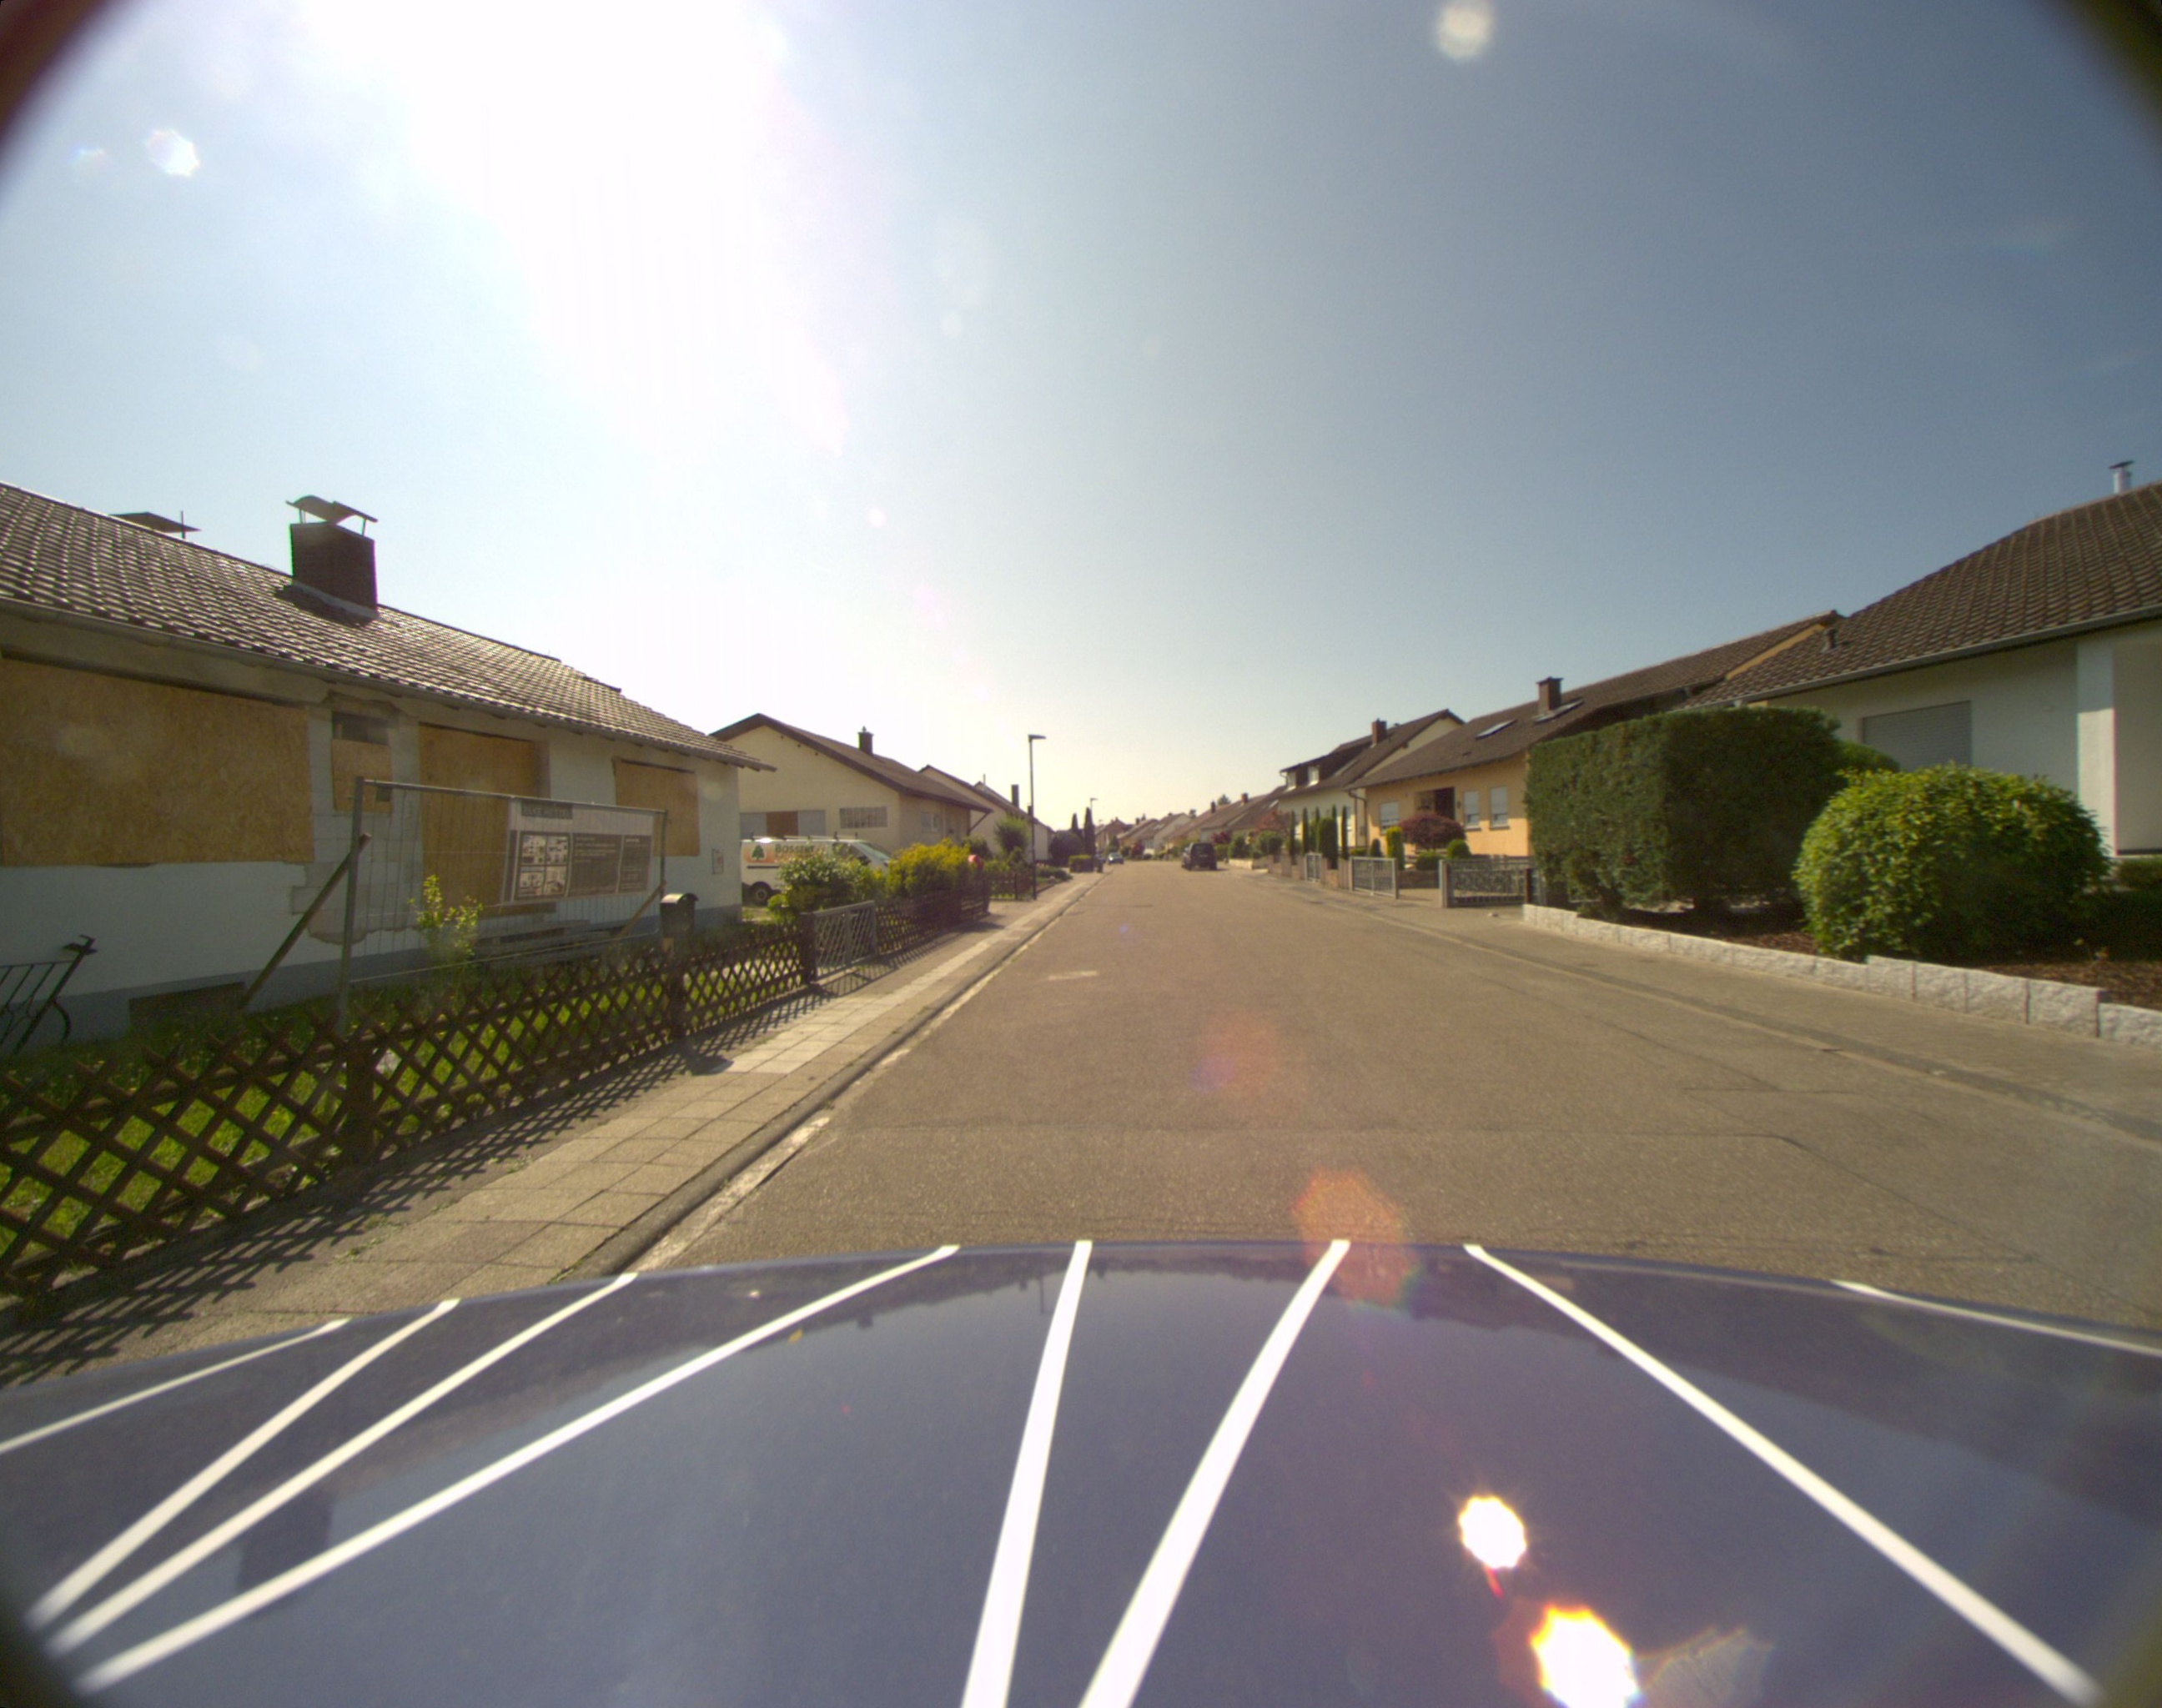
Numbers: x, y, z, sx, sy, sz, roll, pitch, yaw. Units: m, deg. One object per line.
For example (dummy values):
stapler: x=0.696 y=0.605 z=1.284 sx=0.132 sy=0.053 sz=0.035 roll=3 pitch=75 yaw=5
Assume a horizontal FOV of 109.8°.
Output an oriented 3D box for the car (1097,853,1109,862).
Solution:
car: x=3.019 y=0.457 z=106.609 sx=1.459 sy=1.270 sz=3.102 roll=-1 pitch=1 yaw=-2

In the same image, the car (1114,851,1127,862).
car: x=4.858 y=0.337 z=93.832 sx=1.459 sy=1.270 sz=3.102 roll=-1 pitch=1 yaw=-1

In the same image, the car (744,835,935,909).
car: x=-7.074 y=0.507 z=22.507 sx=5.006 sy=2.002 sz=1.868 roll=-1 pitch=1 yaw=6

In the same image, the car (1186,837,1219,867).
car: x=7.778 y=-0.153 z=48.830 sx=1.768 sy=1.767 sz=3.653 roll=-2 pitch=1 yaw=5
